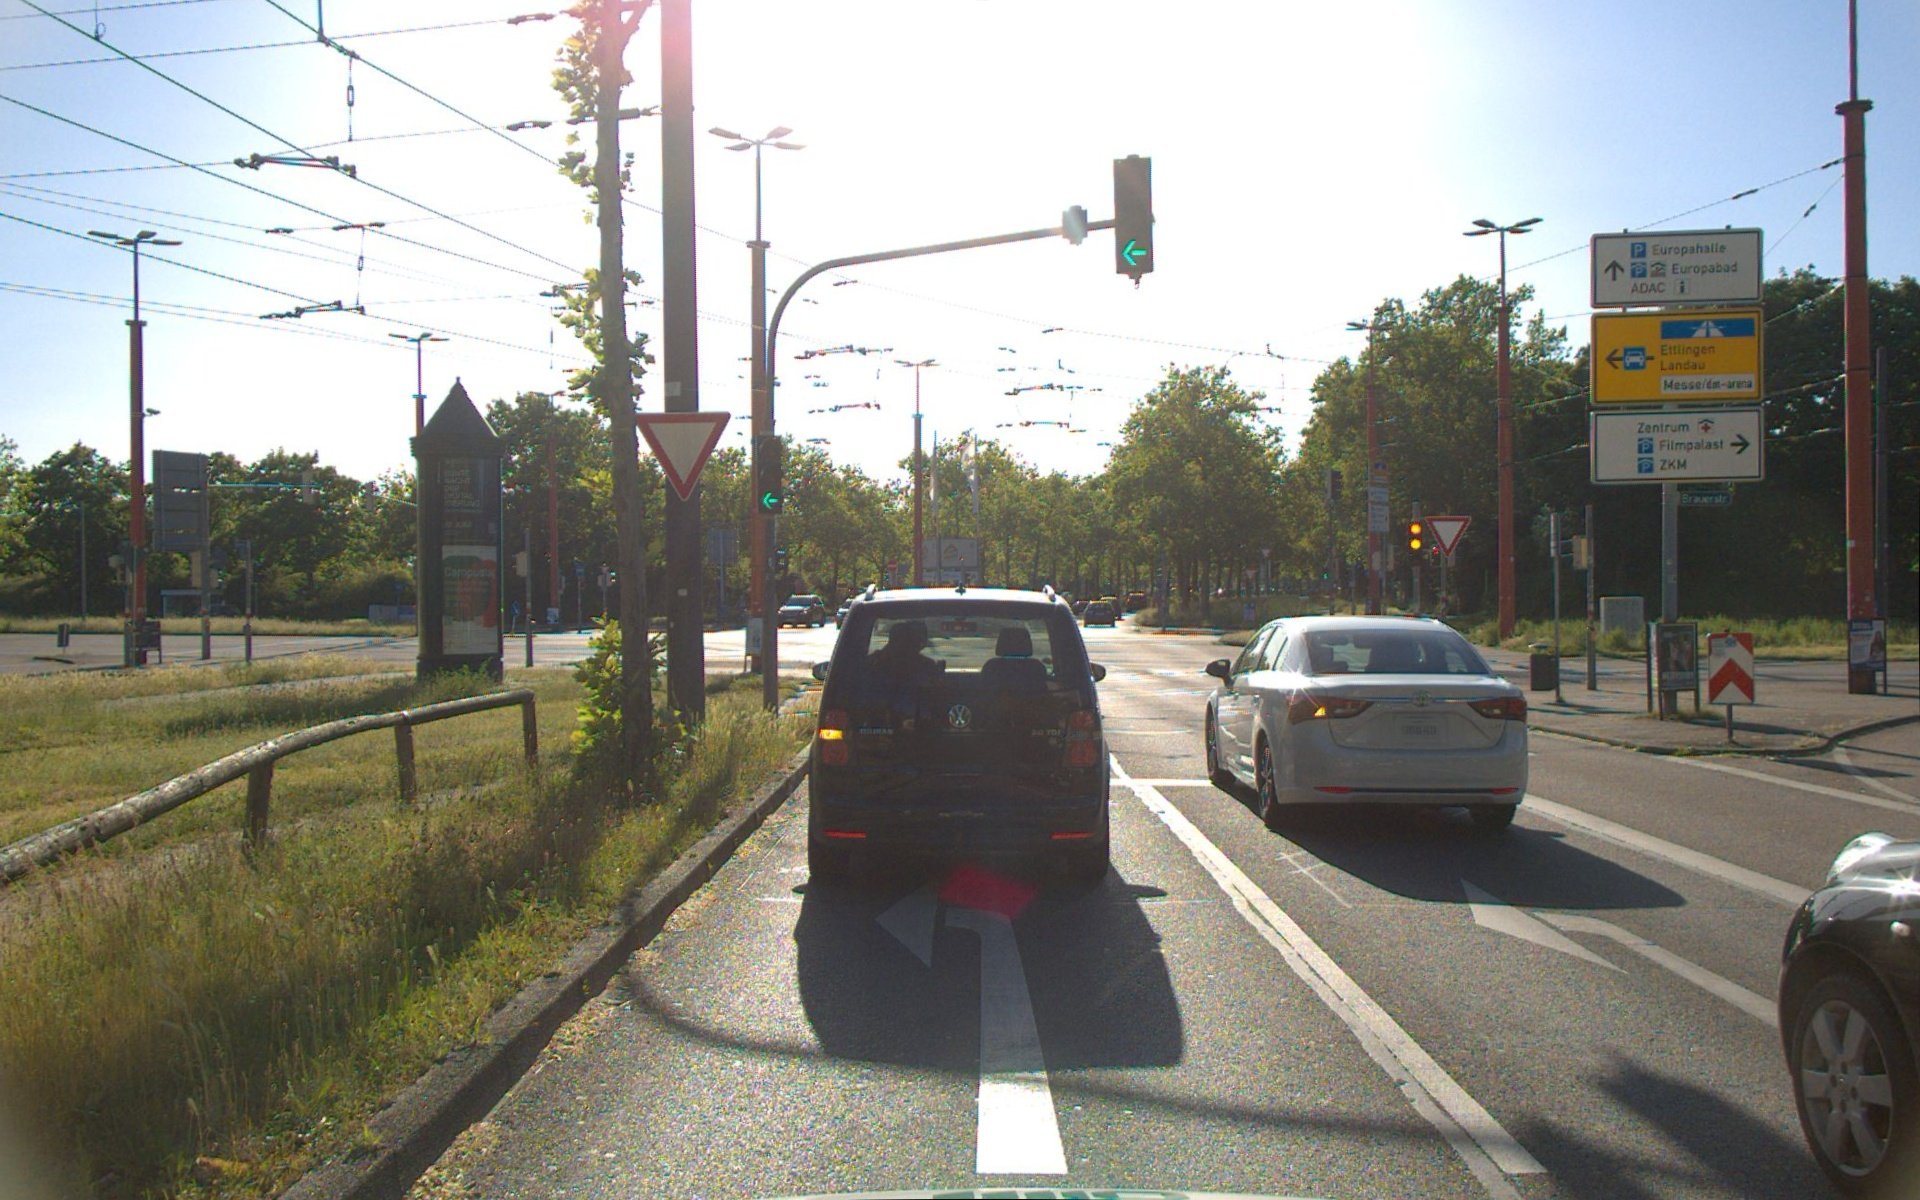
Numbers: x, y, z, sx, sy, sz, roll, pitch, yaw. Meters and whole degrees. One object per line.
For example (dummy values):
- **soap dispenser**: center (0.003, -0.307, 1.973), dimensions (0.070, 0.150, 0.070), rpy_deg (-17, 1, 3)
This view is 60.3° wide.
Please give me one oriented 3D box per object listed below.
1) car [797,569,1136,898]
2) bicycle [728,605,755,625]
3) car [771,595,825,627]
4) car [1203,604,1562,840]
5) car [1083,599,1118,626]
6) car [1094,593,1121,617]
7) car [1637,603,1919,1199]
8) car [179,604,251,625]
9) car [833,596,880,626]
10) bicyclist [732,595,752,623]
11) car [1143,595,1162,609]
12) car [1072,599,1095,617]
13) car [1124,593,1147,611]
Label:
- **car**: center (0.019, 0.670, 10.926), dimensions (1.731, 1.673, 4.923), rpy_deg (0, 0, 0)
- **bicycle**: center (-12.346, 0.850, 93.607), dimensions (0.747, 1.110, 2.017), rpy_deg (-1, 1, 16)
- **car**: center (-9.061, 0.595, 93.118), dimensions (1.861, 1.757, 4.657), rpy_deg (0, 0, 10)
- **car**: center (3.053, 0.797, 12.885), dimensions (1.731, 1.489, 4.366), rpy_deg (0, 0, 1)
- **car**: center (7.903, 0.673, 92.742), dimensions (1.751, 1.412, 4.053), rpy_deg (1, 1, 7)
- **car**: center (10.333, 0.368, 115.660), dimensions (1.833, 1.655, 4.002), rpy_deg (1, -1, 5)
- **car**: center (3.210, 0.778, 3.413), dimensions (1.699, 1.508, 4.622), rpy_deg (0, 0, -1)
- **car**: center (-45.356, 0.890, 100.727), dimensions (3.907, 1.288, 1.943), rpy_deg (0, 0, 24)
- **car**: center (-5.641, 0.581, 90.848), dimensions (1.730, 1.565, 4.095), rpy_deg (0, 0, 9)
- **bicyclist**: center (-12.331, 0.499, 93.683), dimensions (0.743, 1.585, 0.982), rpy_deg (-1, 1, 17)
- **car**: center (19.856, 0.169, 170.403), dimensions (1.751, 1.412, 4.053), rpy_deg (1, 1, 8)
- **car**: center (10.168, 0.613, 135.843), dimensions (1.752, 1.412, 4.053), rpy_deg (1, 1, 7)
- **car**: center (15.845, 0.196, 149.406), dimensions (1.751, 1.528, 4.053), rpy_deg (1, 1, 10)
